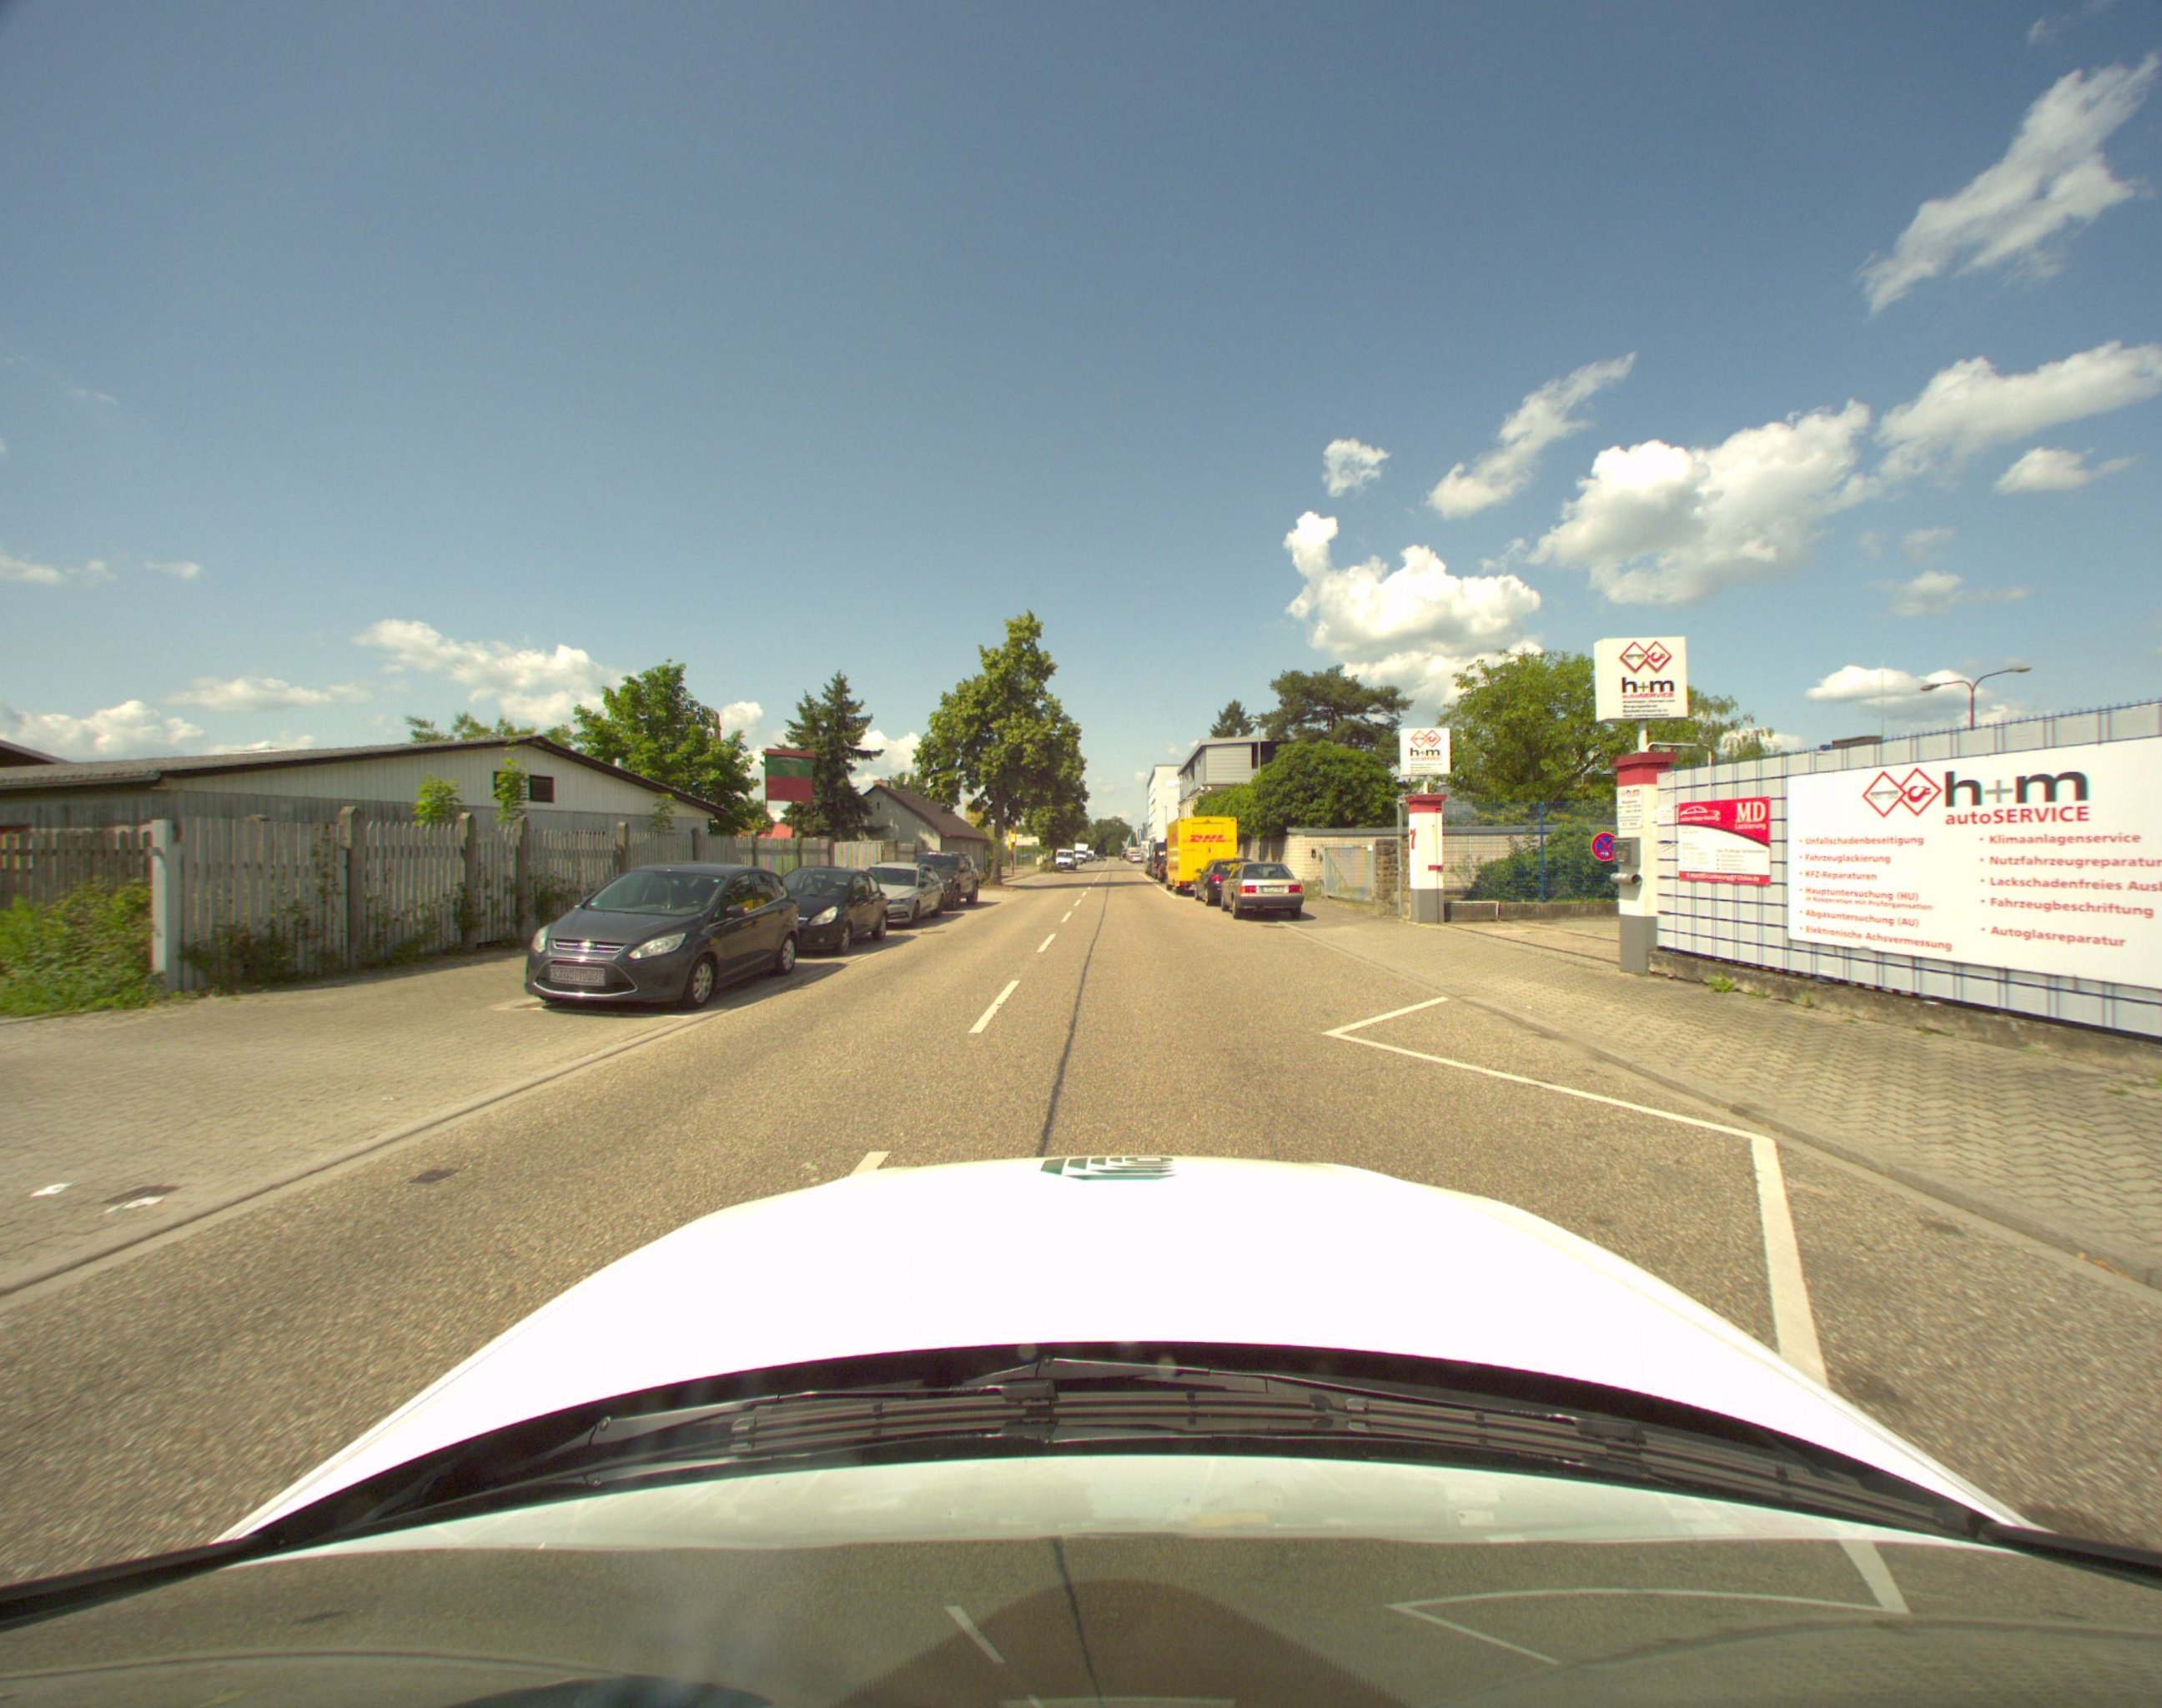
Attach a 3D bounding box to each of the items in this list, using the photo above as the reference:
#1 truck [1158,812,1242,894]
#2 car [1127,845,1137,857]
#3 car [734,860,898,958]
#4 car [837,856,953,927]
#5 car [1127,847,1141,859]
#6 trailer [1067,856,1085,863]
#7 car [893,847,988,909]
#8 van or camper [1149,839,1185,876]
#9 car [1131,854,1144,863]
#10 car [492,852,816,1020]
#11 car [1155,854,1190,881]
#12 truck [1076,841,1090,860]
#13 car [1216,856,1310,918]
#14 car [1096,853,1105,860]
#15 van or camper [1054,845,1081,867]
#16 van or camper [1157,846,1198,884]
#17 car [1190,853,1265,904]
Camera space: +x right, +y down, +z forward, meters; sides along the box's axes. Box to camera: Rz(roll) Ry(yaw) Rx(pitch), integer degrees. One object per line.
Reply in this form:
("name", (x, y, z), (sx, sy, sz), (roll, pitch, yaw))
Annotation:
("truck", (4.603, -0.053, 32.839), (2.465, 2.940, 7.190), (1, 0, 1))
("car", (9.401, -0.541, 149.341), (1.701, 2.090, 4.002), (-1, 0, 2))
("car", (-4.824, 0.922, 15.434), (1.622, 1.448, 4.028), (4, 0, 1))
("car", (-4.642, 0.867, 21.032), (1.726, 1.518, 4.745), (2, 1, 2))
("car", (9.075, -0.126, 138.957), (2.207, 2.013, 5.489), (-1, 0, 3))
("trailer", (-0.694, 0.824, 123.399), (2.407, 0.813, 5.541), (1, 0, 3))
("car", (-4.452, 0.699, 26.532), (1.910, 1.822, 4.791), (0, 0, 4))
("van or camper", (5.565, 0.224, 53.242), (1.986, 2.291, 5.451), (1, 0, 2))
("car", (8.640, 0.742, 125.163), (1.921, 1.310, 4.003), (-1, 0, 2))
("car", (-5.033, 0.828, 10.441), (1.718, 1.604, 4.414), (2, 0, 1))
("car", (5.237, 0.720, 46.877), (1.675, 1.442, 4.769), (0, 0, 2))
("truck", (0.379, -0.606, 137.298), (2.021, 3.154, 6.504), (-1, 0, 3))
("car", (4.602, 0.770, 21.179), (1.645, 1.387, 4.426), (0, 0, 3))
("car", (4.030, 0.571, 165.667), (1.648, 1.324, 4.419), (-1, 0, 3))
("van or camper", (-1.460, 0.223, 92.871), (2.163, 2.413, 7.709), (-1, 0, 6))
("van or camper", (4.887, 0.511, 41.809), (1.752, 1.805, 5.591), (0, 0, 3))
("car", (4.562, 0.703, 25.861), (1.656, 1.441, 4.284), (-1, 0, 1))
